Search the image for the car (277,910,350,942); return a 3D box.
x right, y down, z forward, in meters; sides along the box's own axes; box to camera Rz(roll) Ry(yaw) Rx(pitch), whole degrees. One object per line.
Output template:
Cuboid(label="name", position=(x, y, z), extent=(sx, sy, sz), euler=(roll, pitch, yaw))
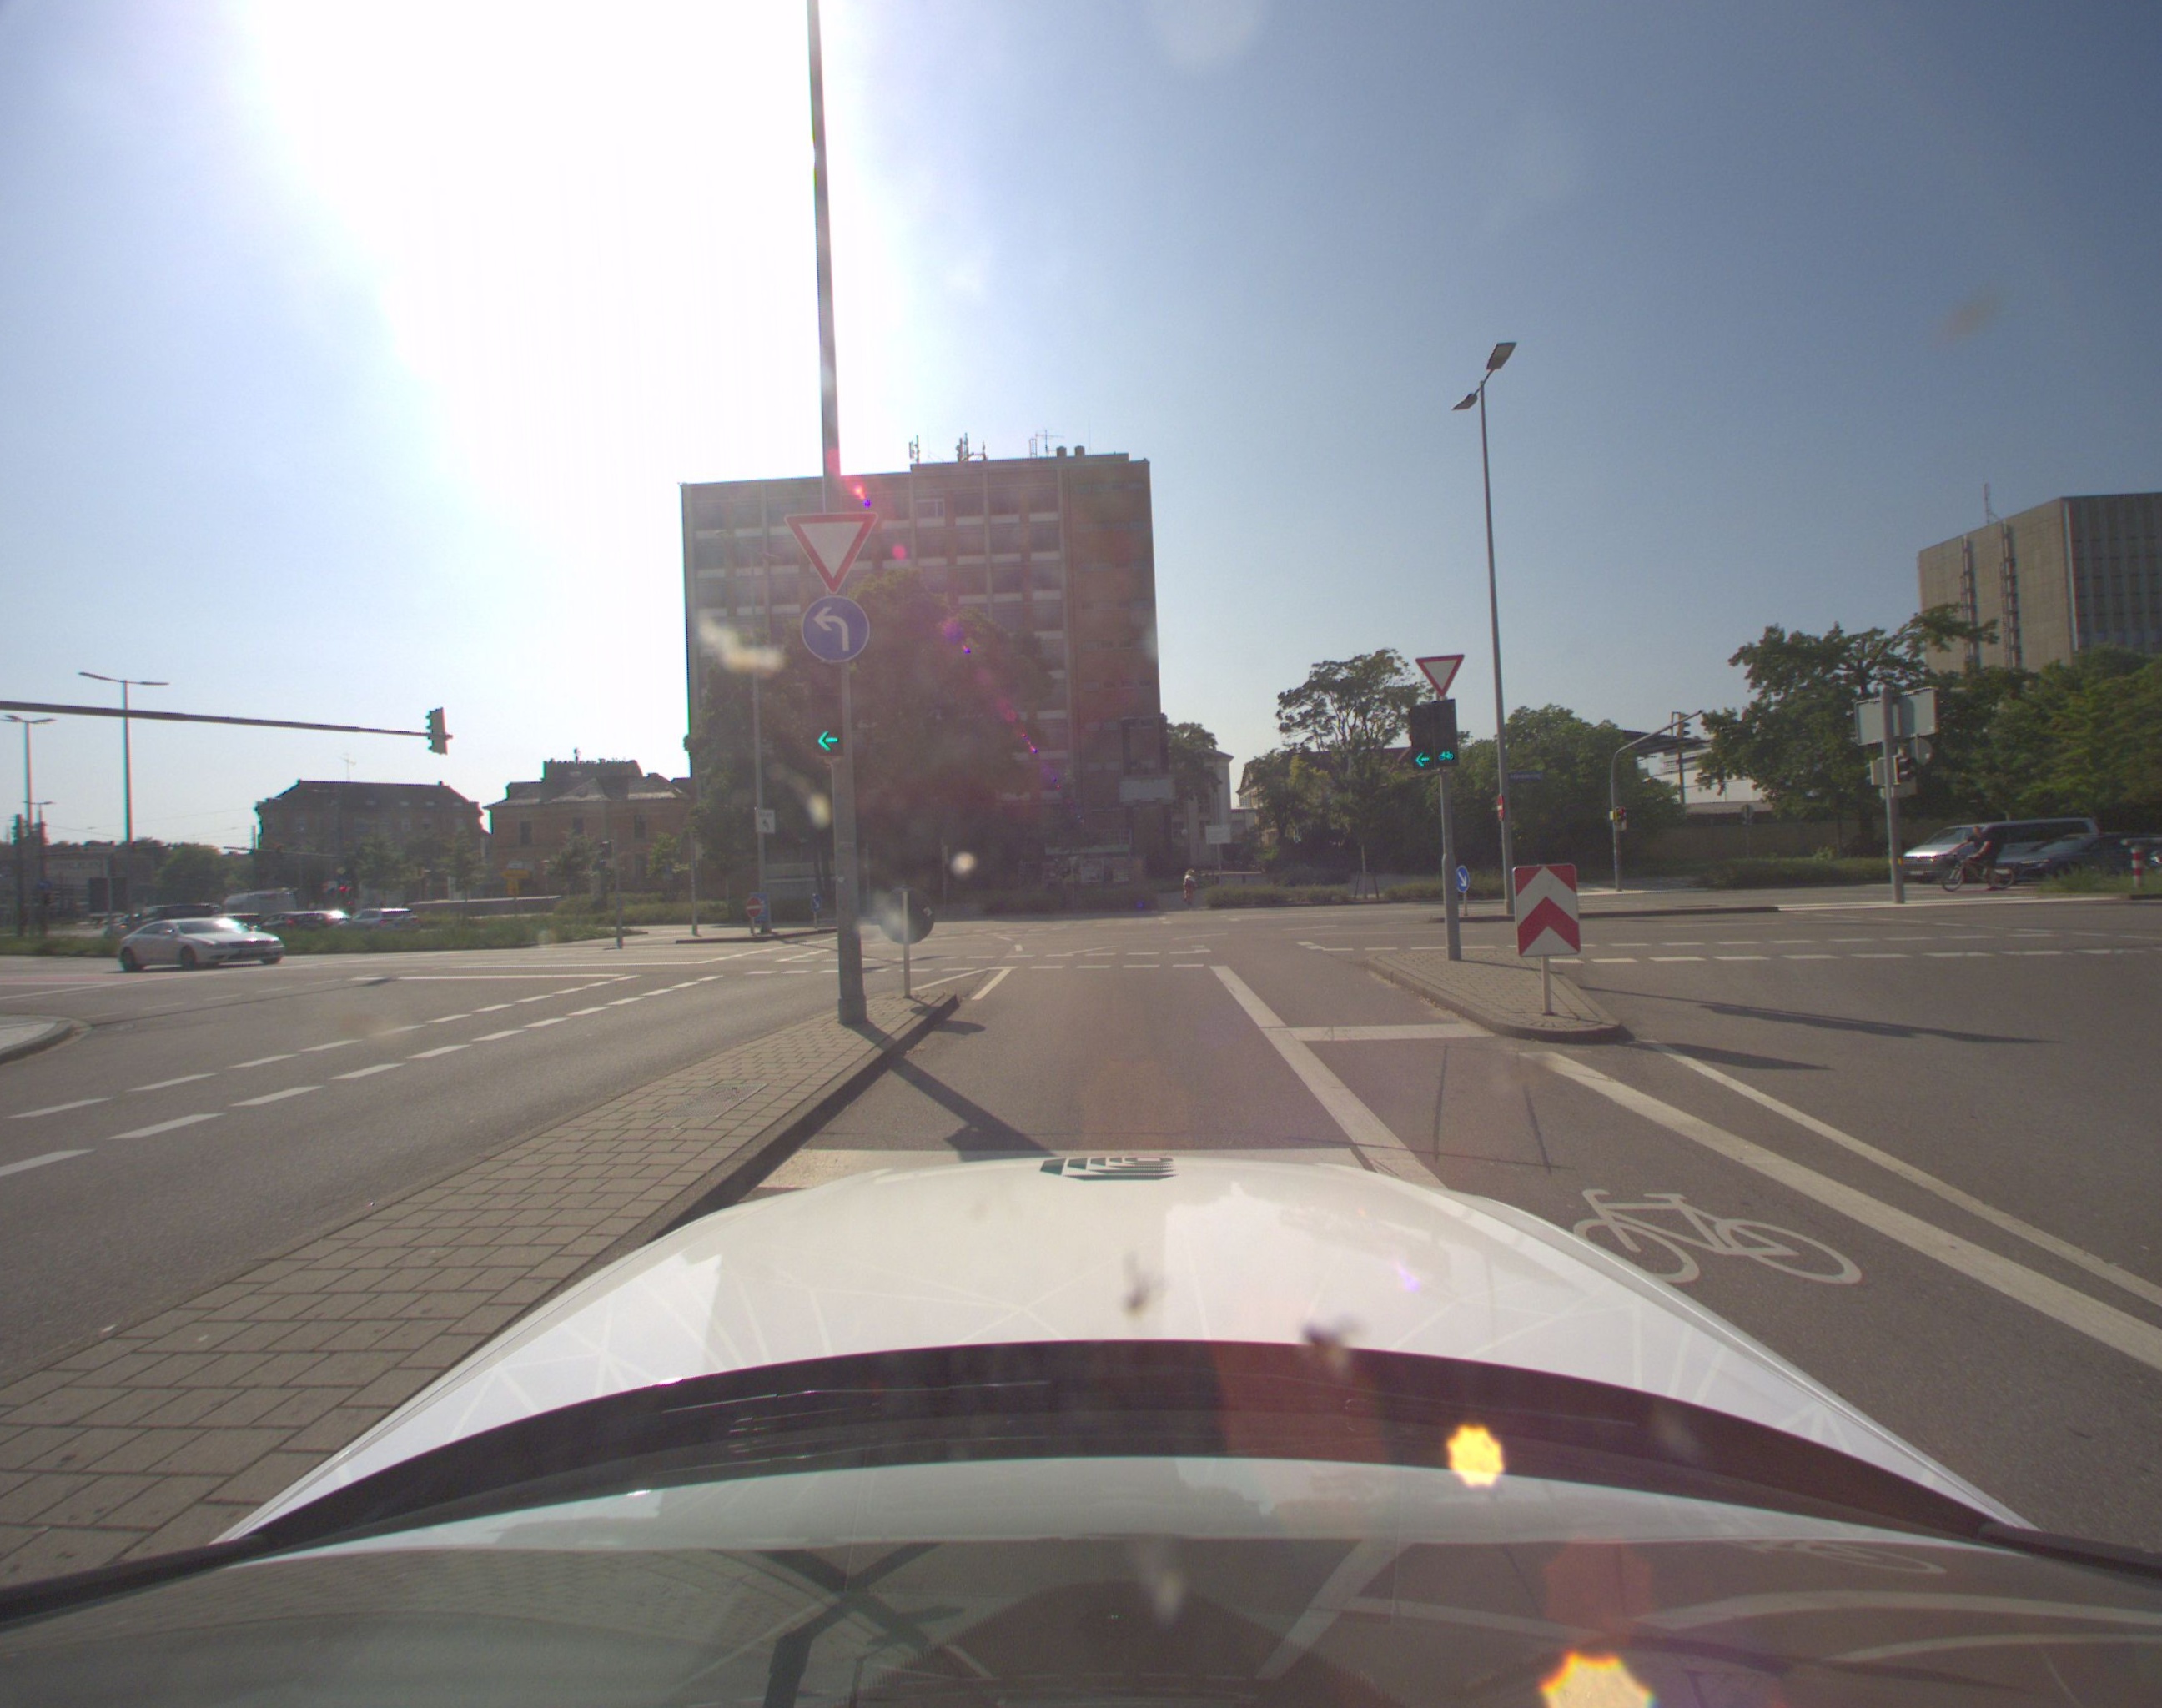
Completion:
Cuboid(label="car", position=(-39.057, 3.657, 41.425), extent=(3.892, 1.403, 1.503), euler=(-4, -2, 27))

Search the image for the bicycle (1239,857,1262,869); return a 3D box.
Cuboid(label="bicycle", position=(18.420, 0.990, 88.699), extent=(2.414, 1.282, 0.721), euler=(-1, -1, 7))

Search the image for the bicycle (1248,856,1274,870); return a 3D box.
Cuboid(label="bicycle", position=(17.308, 0.879, 78.367), extent=(2.414, 1.318, 0.721), euler=(-1, -1, 7))

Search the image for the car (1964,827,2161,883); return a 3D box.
Cuboid(label="car", position=(29.340, 0.015, 23.623), extent=(4.875, 1.401, 1.916), euler=(-3, -1, 9))

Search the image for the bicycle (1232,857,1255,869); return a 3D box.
Cuboid(label="bicycle", position=(17.951, 0.967, 89.969), extent=(2.414, 1.282, 0.721), euler=(-1, -1, 7))

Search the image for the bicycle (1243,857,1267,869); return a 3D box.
Cuboid(label="bicycle", position=(18.173, 0.972, 85.139), extent=(2.414, 1.234, 0.721), euler=(-1, -1, 7))

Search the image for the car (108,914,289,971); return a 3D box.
Cuboid(label="car", position=(-25.028, 2.502, 23.095), extent=(4.761, 1.361, 1.858), euler=(-3, -1, 22))

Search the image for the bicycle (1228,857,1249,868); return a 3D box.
Cuboid(label="bicycle", position=(18.678, 0.971, 96.550), extent=(2.414, 1.262, 0.721), euler=(-1, -1, 7))

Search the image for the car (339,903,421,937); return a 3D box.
Cuboid(label="car", position=(-33.193, 3.135, 38.529), extent=(3.588, 1.387, 1.700), euler=(-4, -2, 27))

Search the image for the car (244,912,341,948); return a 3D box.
Cuboid(label="car", position=(-35.036, 3.380, 36.185), extent=(3.915, 1.368, 1.716), euler=(-4, -2, 24))

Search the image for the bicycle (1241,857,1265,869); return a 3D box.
Cuboid(label="bicycle", position=(18.131, 0.969, 86.083), extent=(2.414, 1.239, 0.721), euler=(-1, -1, 7))

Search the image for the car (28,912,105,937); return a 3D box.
Cuboid(label="car", position=(-95.201, 6.611, 76.510), extent=(1.979, 2.014, 4.016), euler=(-3, -1, 15))

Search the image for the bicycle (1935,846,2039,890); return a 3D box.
Cuboid(label="bicycle", position=(24.387, 0.374, 21.951), extent=(1.760, 1.052, 0.772), euler=(-3, -1, 6))

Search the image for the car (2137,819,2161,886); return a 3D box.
Cuboid(label="car", position=(27.590, -0.176, 18.256), extent=(4.669, 1.579, 1.859), euler=(-3, -3, 10))

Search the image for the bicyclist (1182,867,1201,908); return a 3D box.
Cuboid(label="bicyclist", position=(4.492, 1.346, 33.209), extent=(0.646, 1.601, 0.922), euler=(-3, -1, 10))

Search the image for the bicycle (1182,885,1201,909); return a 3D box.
Cuboid(label="bicycle", position=(4.500, 1.746, 33.052), extent=(0.669, 0.879, 1.405), euler=(-3, -1, 11))

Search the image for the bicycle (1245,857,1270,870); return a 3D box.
Cuboid(label="bicycle", position=(17.777, 0.932, 82.023), extent=(2.414, 1.223, 0.721), euler=(-1, -1, 7))

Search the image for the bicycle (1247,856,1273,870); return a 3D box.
Cuboid(label="bicycle", position=(17.435, 0.885, 79.498), extent=(2.414, 1.318, 0.721), euler=(-1, -1, 7))

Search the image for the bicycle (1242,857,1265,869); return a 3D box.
Cuboid(label="bicycle", position=(18.439, 0.943, 87.108), extent=(2.414, 1.229, 0.721), euler=(-1, -1, 7))

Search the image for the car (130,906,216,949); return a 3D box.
Cuboid(label="car", position=(-46.982, 3.815, 42.127), extent=(4.623, 2.008, 2.043), euler=(-4, -2, 30))

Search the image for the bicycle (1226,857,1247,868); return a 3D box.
Cuboid(label="bicycle", position=(18.636, 0.983, 97.734), extent=(2.414, 1.280, 0.721), euler=(-1, -1, 7))

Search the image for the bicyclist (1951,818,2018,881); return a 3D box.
Cuboid(label="bicyclist", position=(24.351, -0.112, 21.961), extent=(0.868, 1.635, 0.750), euler=(-3, -1, 7))

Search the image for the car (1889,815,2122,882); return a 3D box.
Cuboid(label="car", position=(30.022, -0.152, 26.605), extent=(4.928, 1.875, 1.852), euler=(-3, -1, 9))

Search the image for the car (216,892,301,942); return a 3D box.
Cuboid(label="car", position=(-46.501, 3.585, 46.024), extent=(4.623, 2.549, 2.209), euler=(-4, -2, 30))
